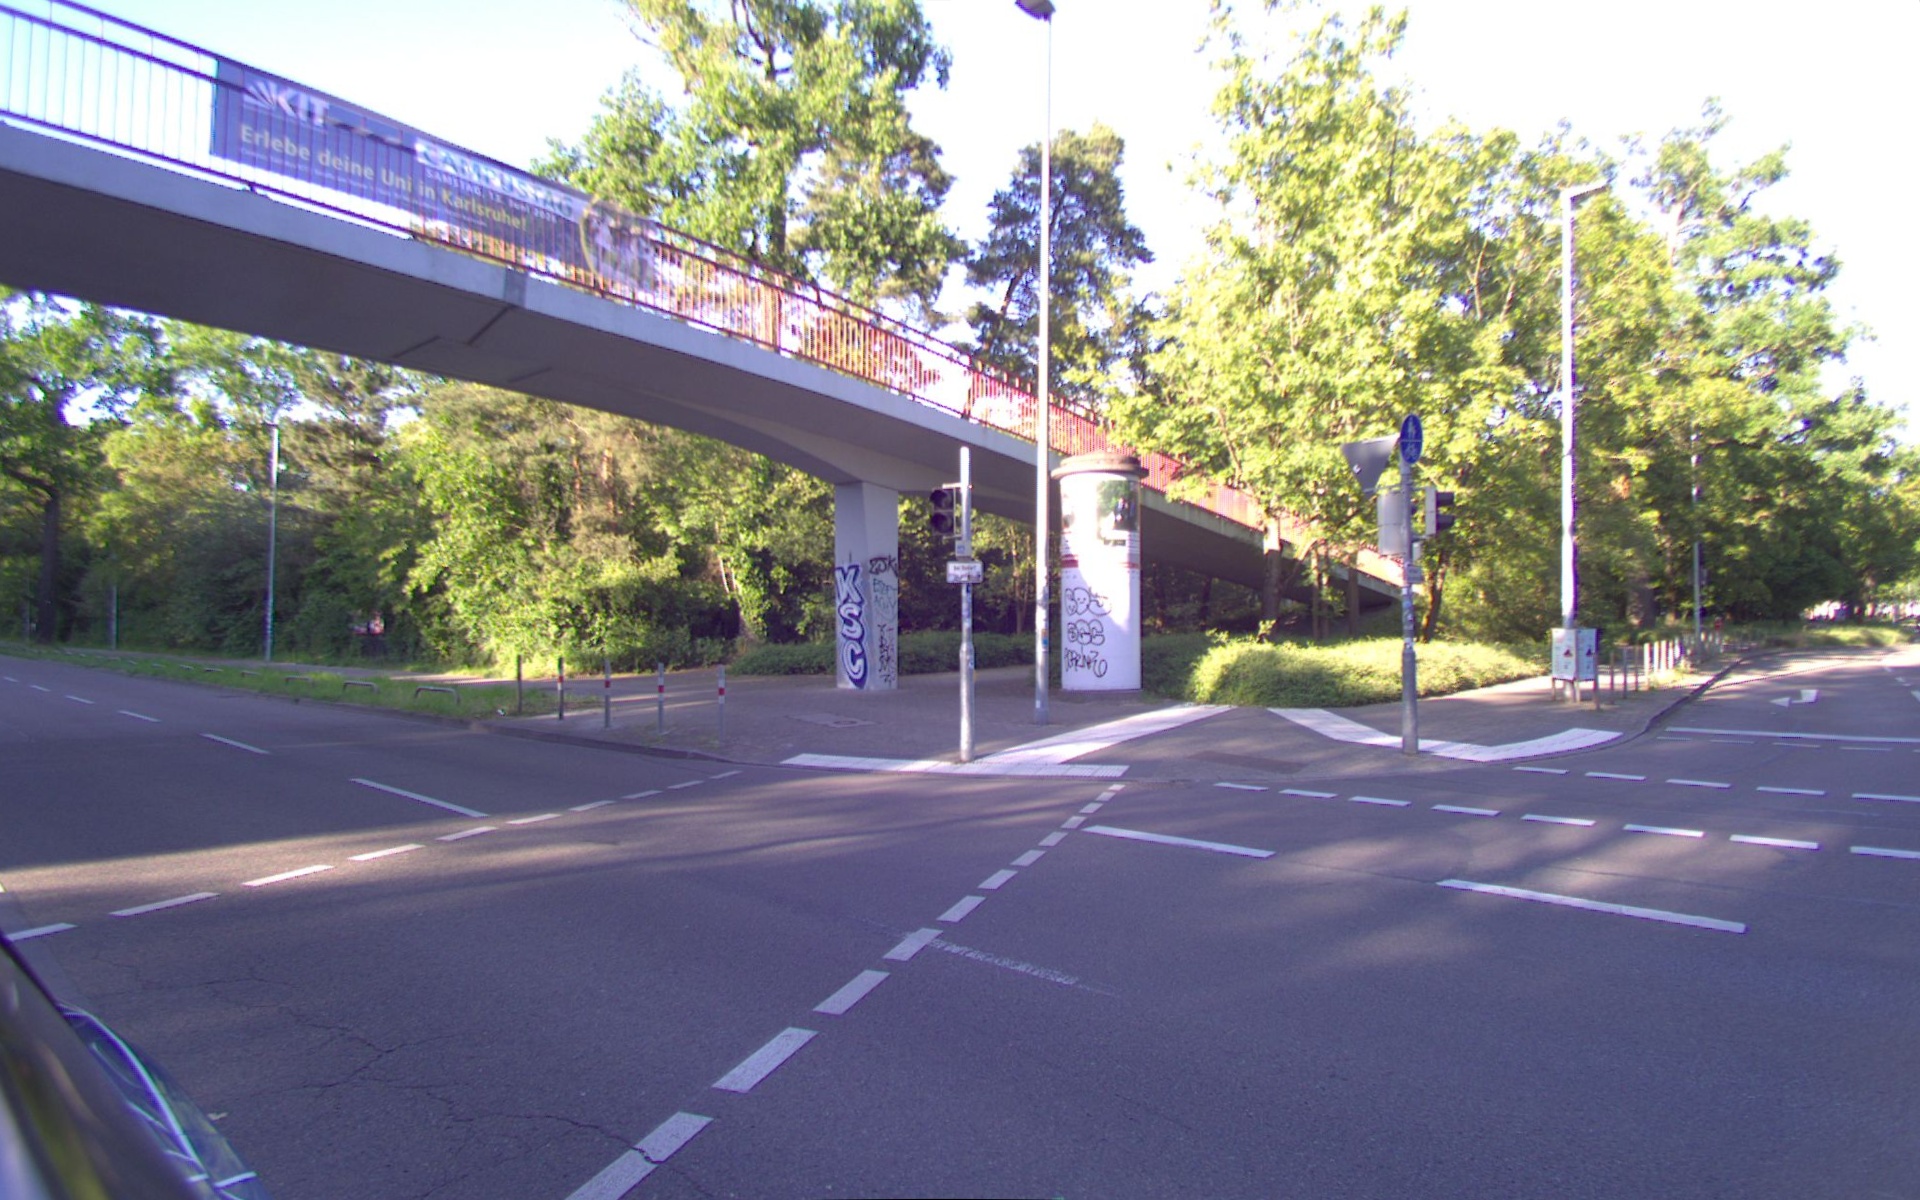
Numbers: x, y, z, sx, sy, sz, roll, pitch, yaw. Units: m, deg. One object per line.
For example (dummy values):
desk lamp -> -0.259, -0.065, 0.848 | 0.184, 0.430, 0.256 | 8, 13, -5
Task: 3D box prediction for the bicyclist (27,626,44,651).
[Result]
bicyclist -> -61.354, 2.562, 67.176 | 1.142, 1.570, 0.705 | -1, 0, 41
